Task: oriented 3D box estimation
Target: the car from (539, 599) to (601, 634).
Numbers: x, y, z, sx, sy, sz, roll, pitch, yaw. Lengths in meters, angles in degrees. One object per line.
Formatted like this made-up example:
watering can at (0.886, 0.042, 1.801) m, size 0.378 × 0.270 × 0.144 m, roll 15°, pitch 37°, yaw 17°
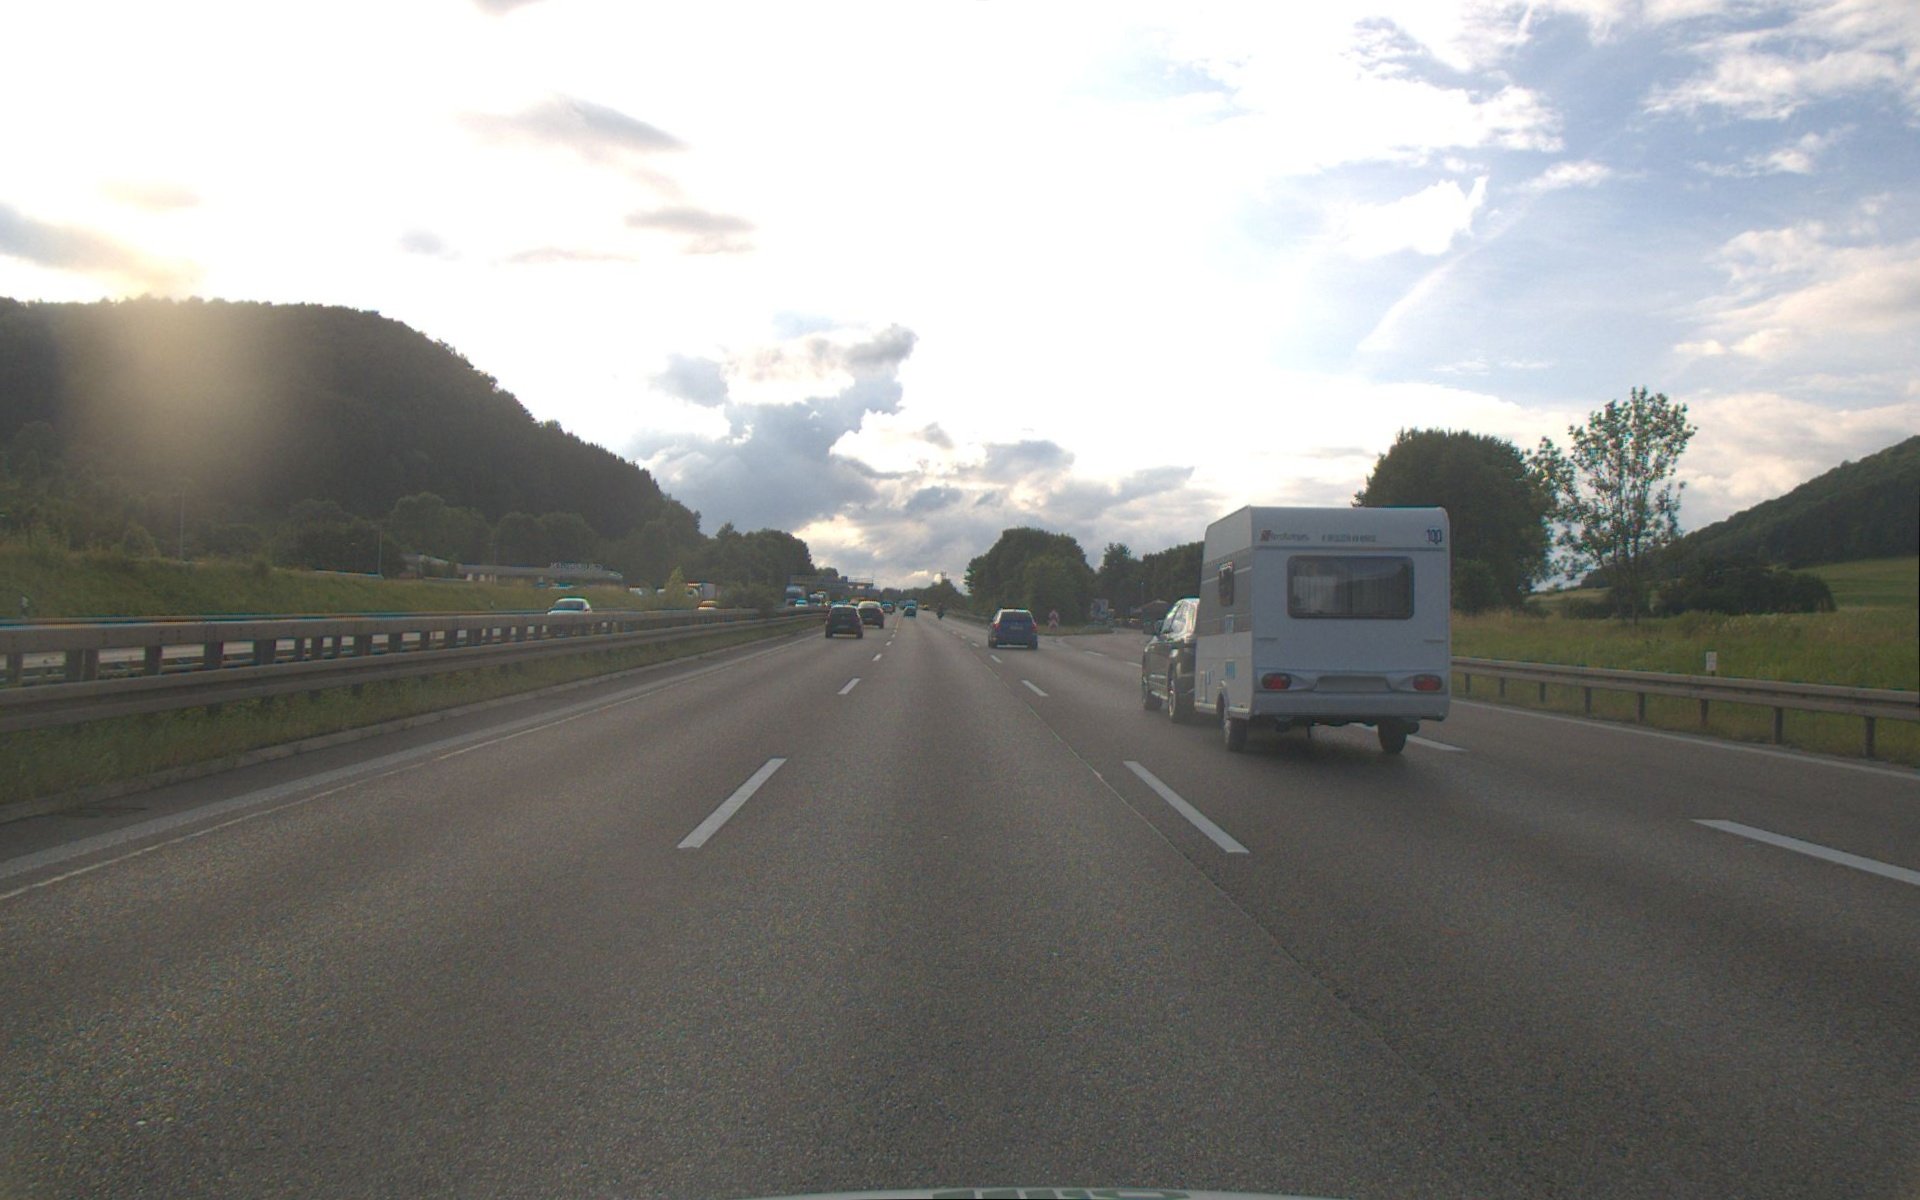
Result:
car at (-17.202, 0.713, 73.173) m, size 1.912 × 1.473 × 3.871 m, roll 1°, pitch 0°, yaw -2°

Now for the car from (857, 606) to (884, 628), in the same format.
car at (-5.949, 1.141, 109.993) m, size 1.533 × 1.404 × 4.000 m, roll 0°, pitch 0°, yaw 1°

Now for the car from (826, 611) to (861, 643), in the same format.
car at (-5.344, 1.221, 76.086) m, size 1.507 × 1.371 × 3.675 m, roll 1°, pitch 0°, yaw -3°

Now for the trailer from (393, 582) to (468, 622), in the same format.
trailer at (-43.069, 0.236, 134.877) m, size 2.526 × 2.904 × 11.376 m, roll 1°, pitch -2°, yaw -1°

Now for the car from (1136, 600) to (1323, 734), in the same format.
car at (3.674, 0.861, 23.287) m, size 1.750 × 1.681 × 4.479 m, roll 1°, pitch 0°, yaw -2°

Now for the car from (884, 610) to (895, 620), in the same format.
car at (-10.926, 2.322, 255.976) m, size 1.550 × 1.395 × 3.256 m, roll 1°, pitch -2°, yaw -1°

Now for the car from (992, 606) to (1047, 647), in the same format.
car at (2.188, 0.996, 62.057) m, size 1.731 × 1.458 × 3.998 m, roll -1°, pitch -1°, yaw -2°

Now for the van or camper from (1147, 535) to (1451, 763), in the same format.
van or camper at (3.785, 0.534, 19.636) m, size 2.495 × 2.278 × 5.328 m, roll 1°, pitch -1°, yaw 0°

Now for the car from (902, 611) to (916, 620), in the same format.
car at (-7.211, 2.162, 234.669) m, size 1.717 × 1.243 × 3.994 m, roll 0°, pitch -1°, yaw -6°

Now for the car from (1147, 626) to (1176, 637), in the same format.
car at (29.226, 4.551, 239.630) m, size 4.273 × 1.583 × 1.959 m, roll 3°, pitch -2°, yaw -43°

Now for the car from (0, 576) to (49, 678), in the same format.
car at (-15.123, 0.388, 23.831) m, size 1.912 × 1.501 × 3.871 m, roll 1°, pitch 0°, yaw -2°
